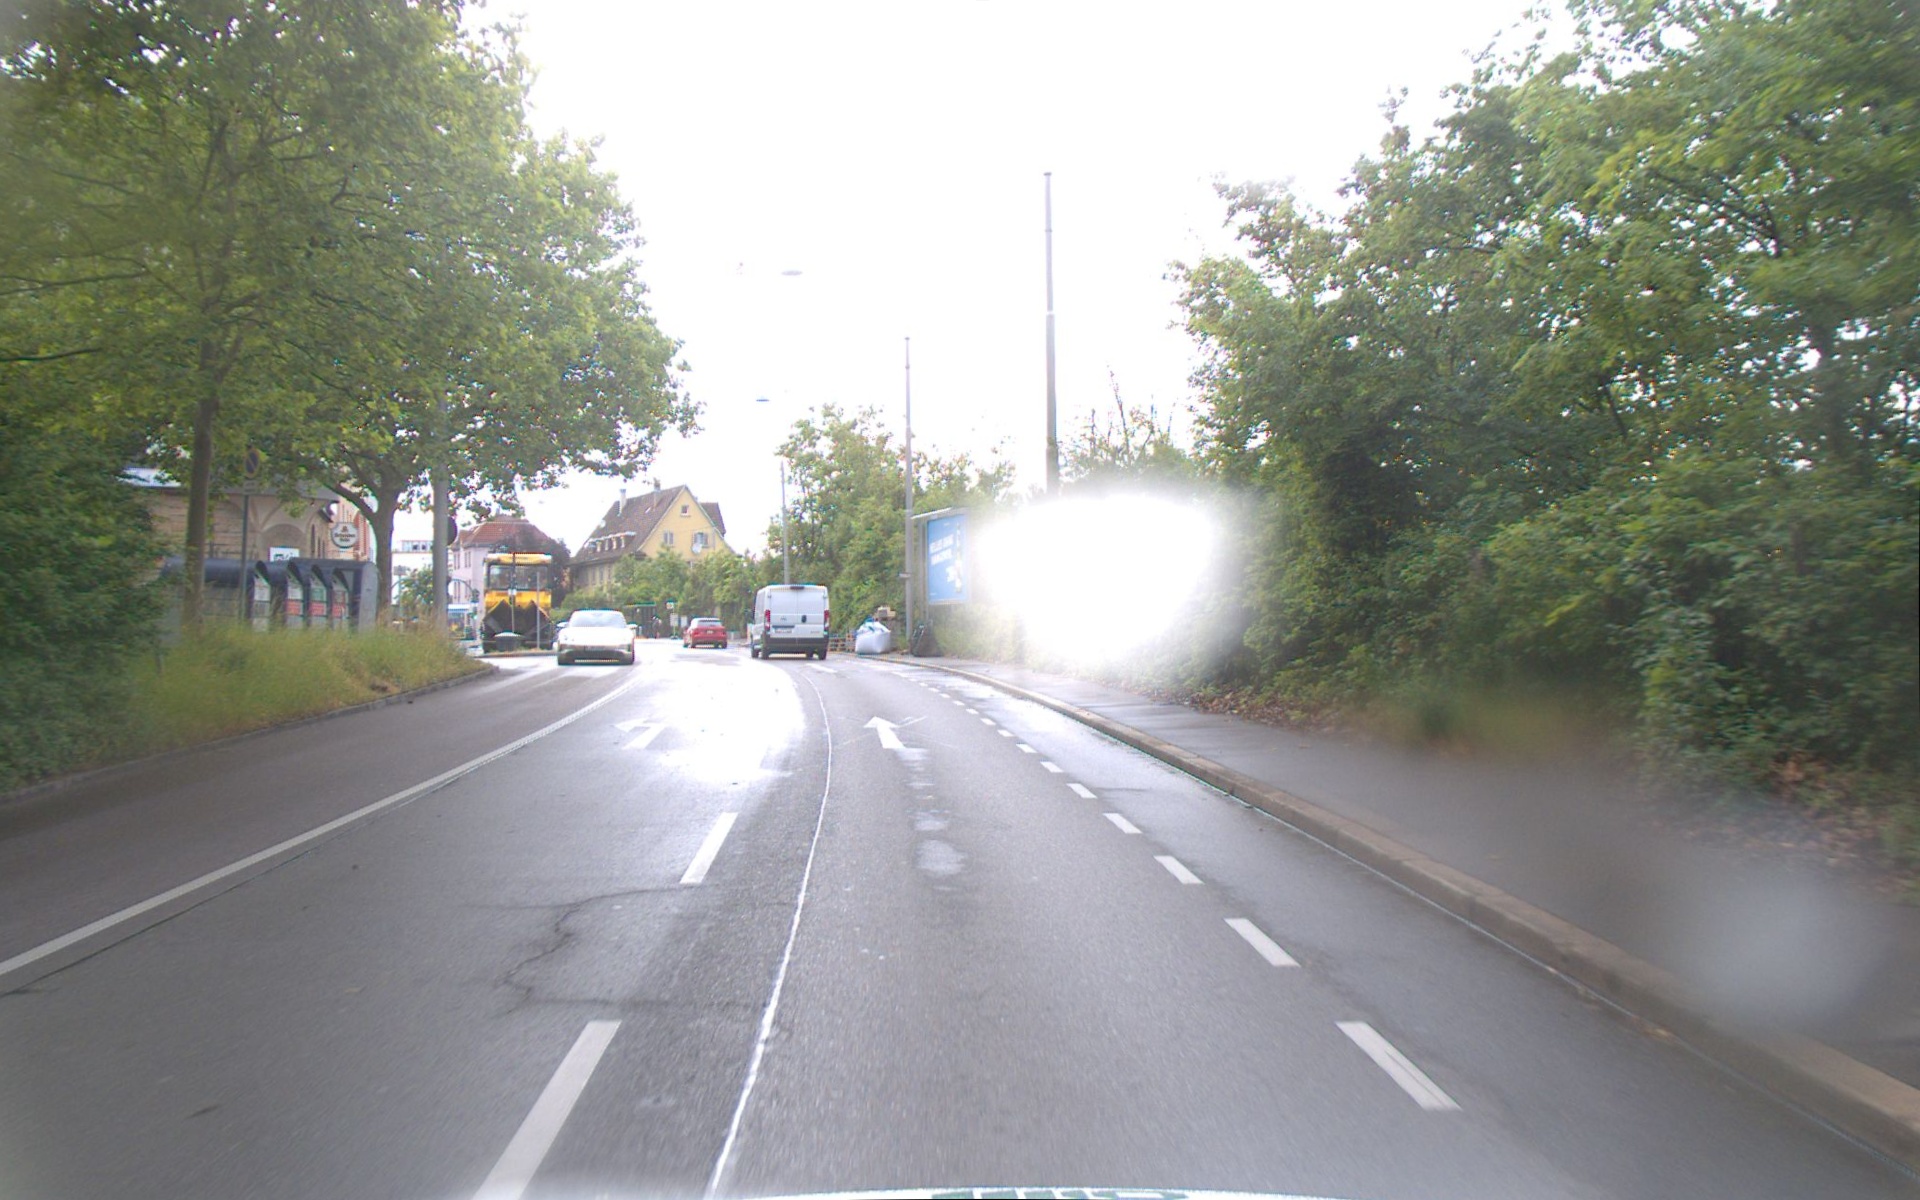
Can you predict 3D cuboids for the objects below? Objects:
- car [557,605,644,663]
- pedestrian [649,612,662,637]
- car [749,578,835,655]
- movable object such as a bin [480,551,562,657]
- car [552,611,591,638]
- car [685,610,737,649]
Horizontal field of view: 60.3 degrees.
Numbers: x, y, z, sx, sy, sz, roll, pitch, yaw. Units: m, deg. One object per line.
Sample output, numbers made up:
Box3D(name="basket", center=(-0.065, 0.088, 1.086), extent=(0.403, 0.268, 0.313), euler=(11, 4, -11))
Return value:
Box3D(name="car", center=(-9.515, 0.869, 44.119), extent=(2.033, 1.376, 4.702), euler=(1, 1, -10))
Box3D(name="pedestrian", center=(-22.255, 1.773, 120.998), extent=(0.890, 1.761, 0.651), euler=(1, 0, -14))
Box3D(name="car", center=(-5.352, 0.472, 52.064), extent=(2.198, 2.252, 4.700), euler=(1, 1, -12))
Box3D(name="movable object such as a bin", center=(-17.153, 0.105, 64.868), extent=(2.726, 3.923, 5.970), euler=(1, 1, -12))
Box3D(name="car", center=(-28.539, 1.801, 121.427), extent=(2.205, 1.836, 4.685), euler=(1, 1, -21))
Box3D(name="car", center=(-12.137, 1.414, 80.347), extent=(2.198, 1.685, 4.699), euler=(1, 1, -12))
